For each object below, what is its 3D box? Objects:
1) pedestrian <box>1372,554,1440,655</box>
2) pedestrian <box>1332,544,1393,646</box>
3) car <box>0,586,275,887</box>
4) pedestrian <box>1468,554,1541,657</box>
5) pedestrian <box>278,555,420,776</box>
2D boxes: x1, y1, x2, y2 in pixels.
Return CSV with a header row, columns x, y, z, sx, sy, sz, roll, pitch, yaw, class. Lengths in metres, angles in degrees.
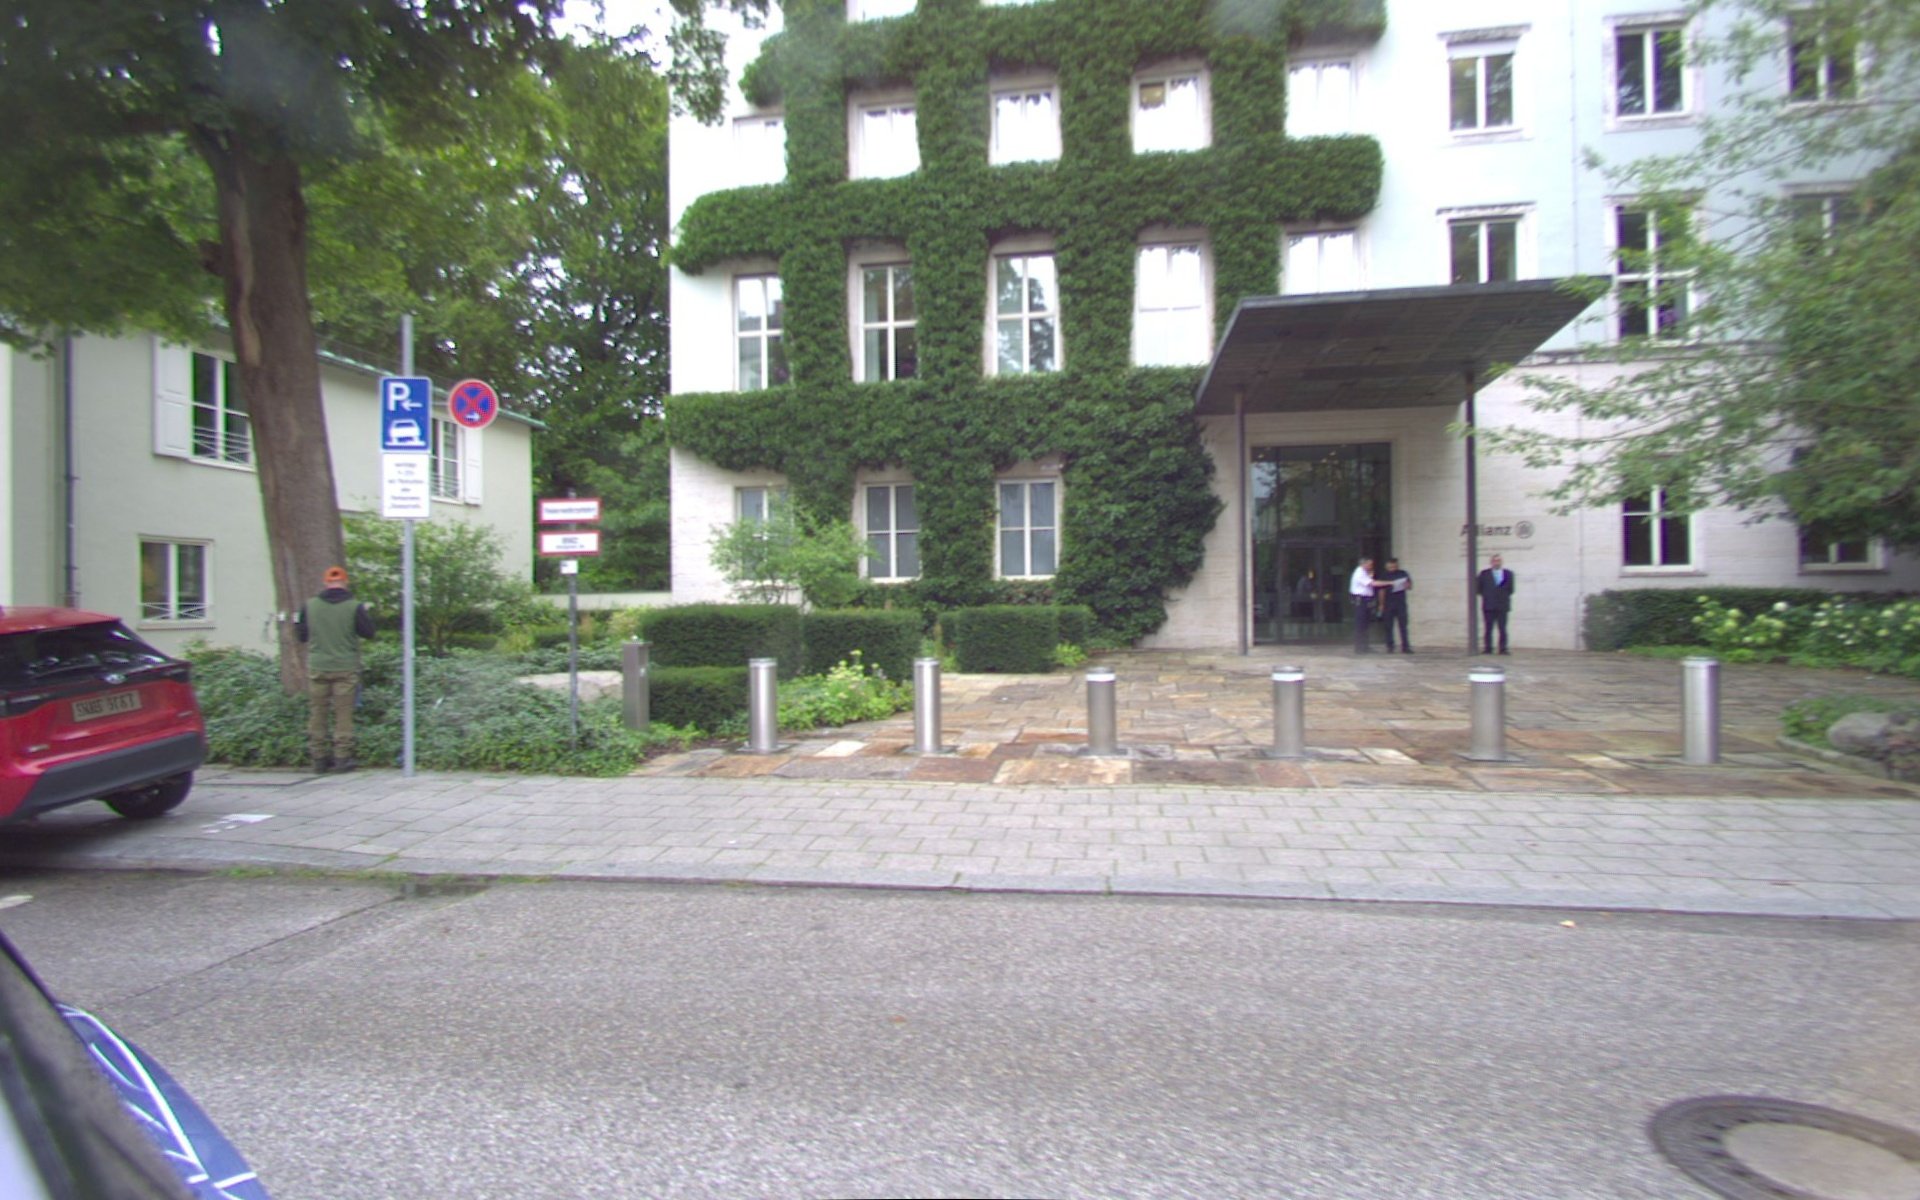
x,y,z,sx,sy,sz,roll,pitch,yaw,class
7.967,0.076,18.103,0.889,1.766,0.751,0,-1,5,pedestrian
7.136,-0.079,17.994,0.743,1.766,0.899,-1,-1,6,pedestrian
-7.249,0.758,6.594,4.473,1.602,1.889,-1,0,7,car
9.519,0.092,17.720,0.889,1.766,0.751,0,-1,5,pedestrian
-5.371,0.553,8.932,0.787,1.866,0.713,-1,0,8,pedestrian
